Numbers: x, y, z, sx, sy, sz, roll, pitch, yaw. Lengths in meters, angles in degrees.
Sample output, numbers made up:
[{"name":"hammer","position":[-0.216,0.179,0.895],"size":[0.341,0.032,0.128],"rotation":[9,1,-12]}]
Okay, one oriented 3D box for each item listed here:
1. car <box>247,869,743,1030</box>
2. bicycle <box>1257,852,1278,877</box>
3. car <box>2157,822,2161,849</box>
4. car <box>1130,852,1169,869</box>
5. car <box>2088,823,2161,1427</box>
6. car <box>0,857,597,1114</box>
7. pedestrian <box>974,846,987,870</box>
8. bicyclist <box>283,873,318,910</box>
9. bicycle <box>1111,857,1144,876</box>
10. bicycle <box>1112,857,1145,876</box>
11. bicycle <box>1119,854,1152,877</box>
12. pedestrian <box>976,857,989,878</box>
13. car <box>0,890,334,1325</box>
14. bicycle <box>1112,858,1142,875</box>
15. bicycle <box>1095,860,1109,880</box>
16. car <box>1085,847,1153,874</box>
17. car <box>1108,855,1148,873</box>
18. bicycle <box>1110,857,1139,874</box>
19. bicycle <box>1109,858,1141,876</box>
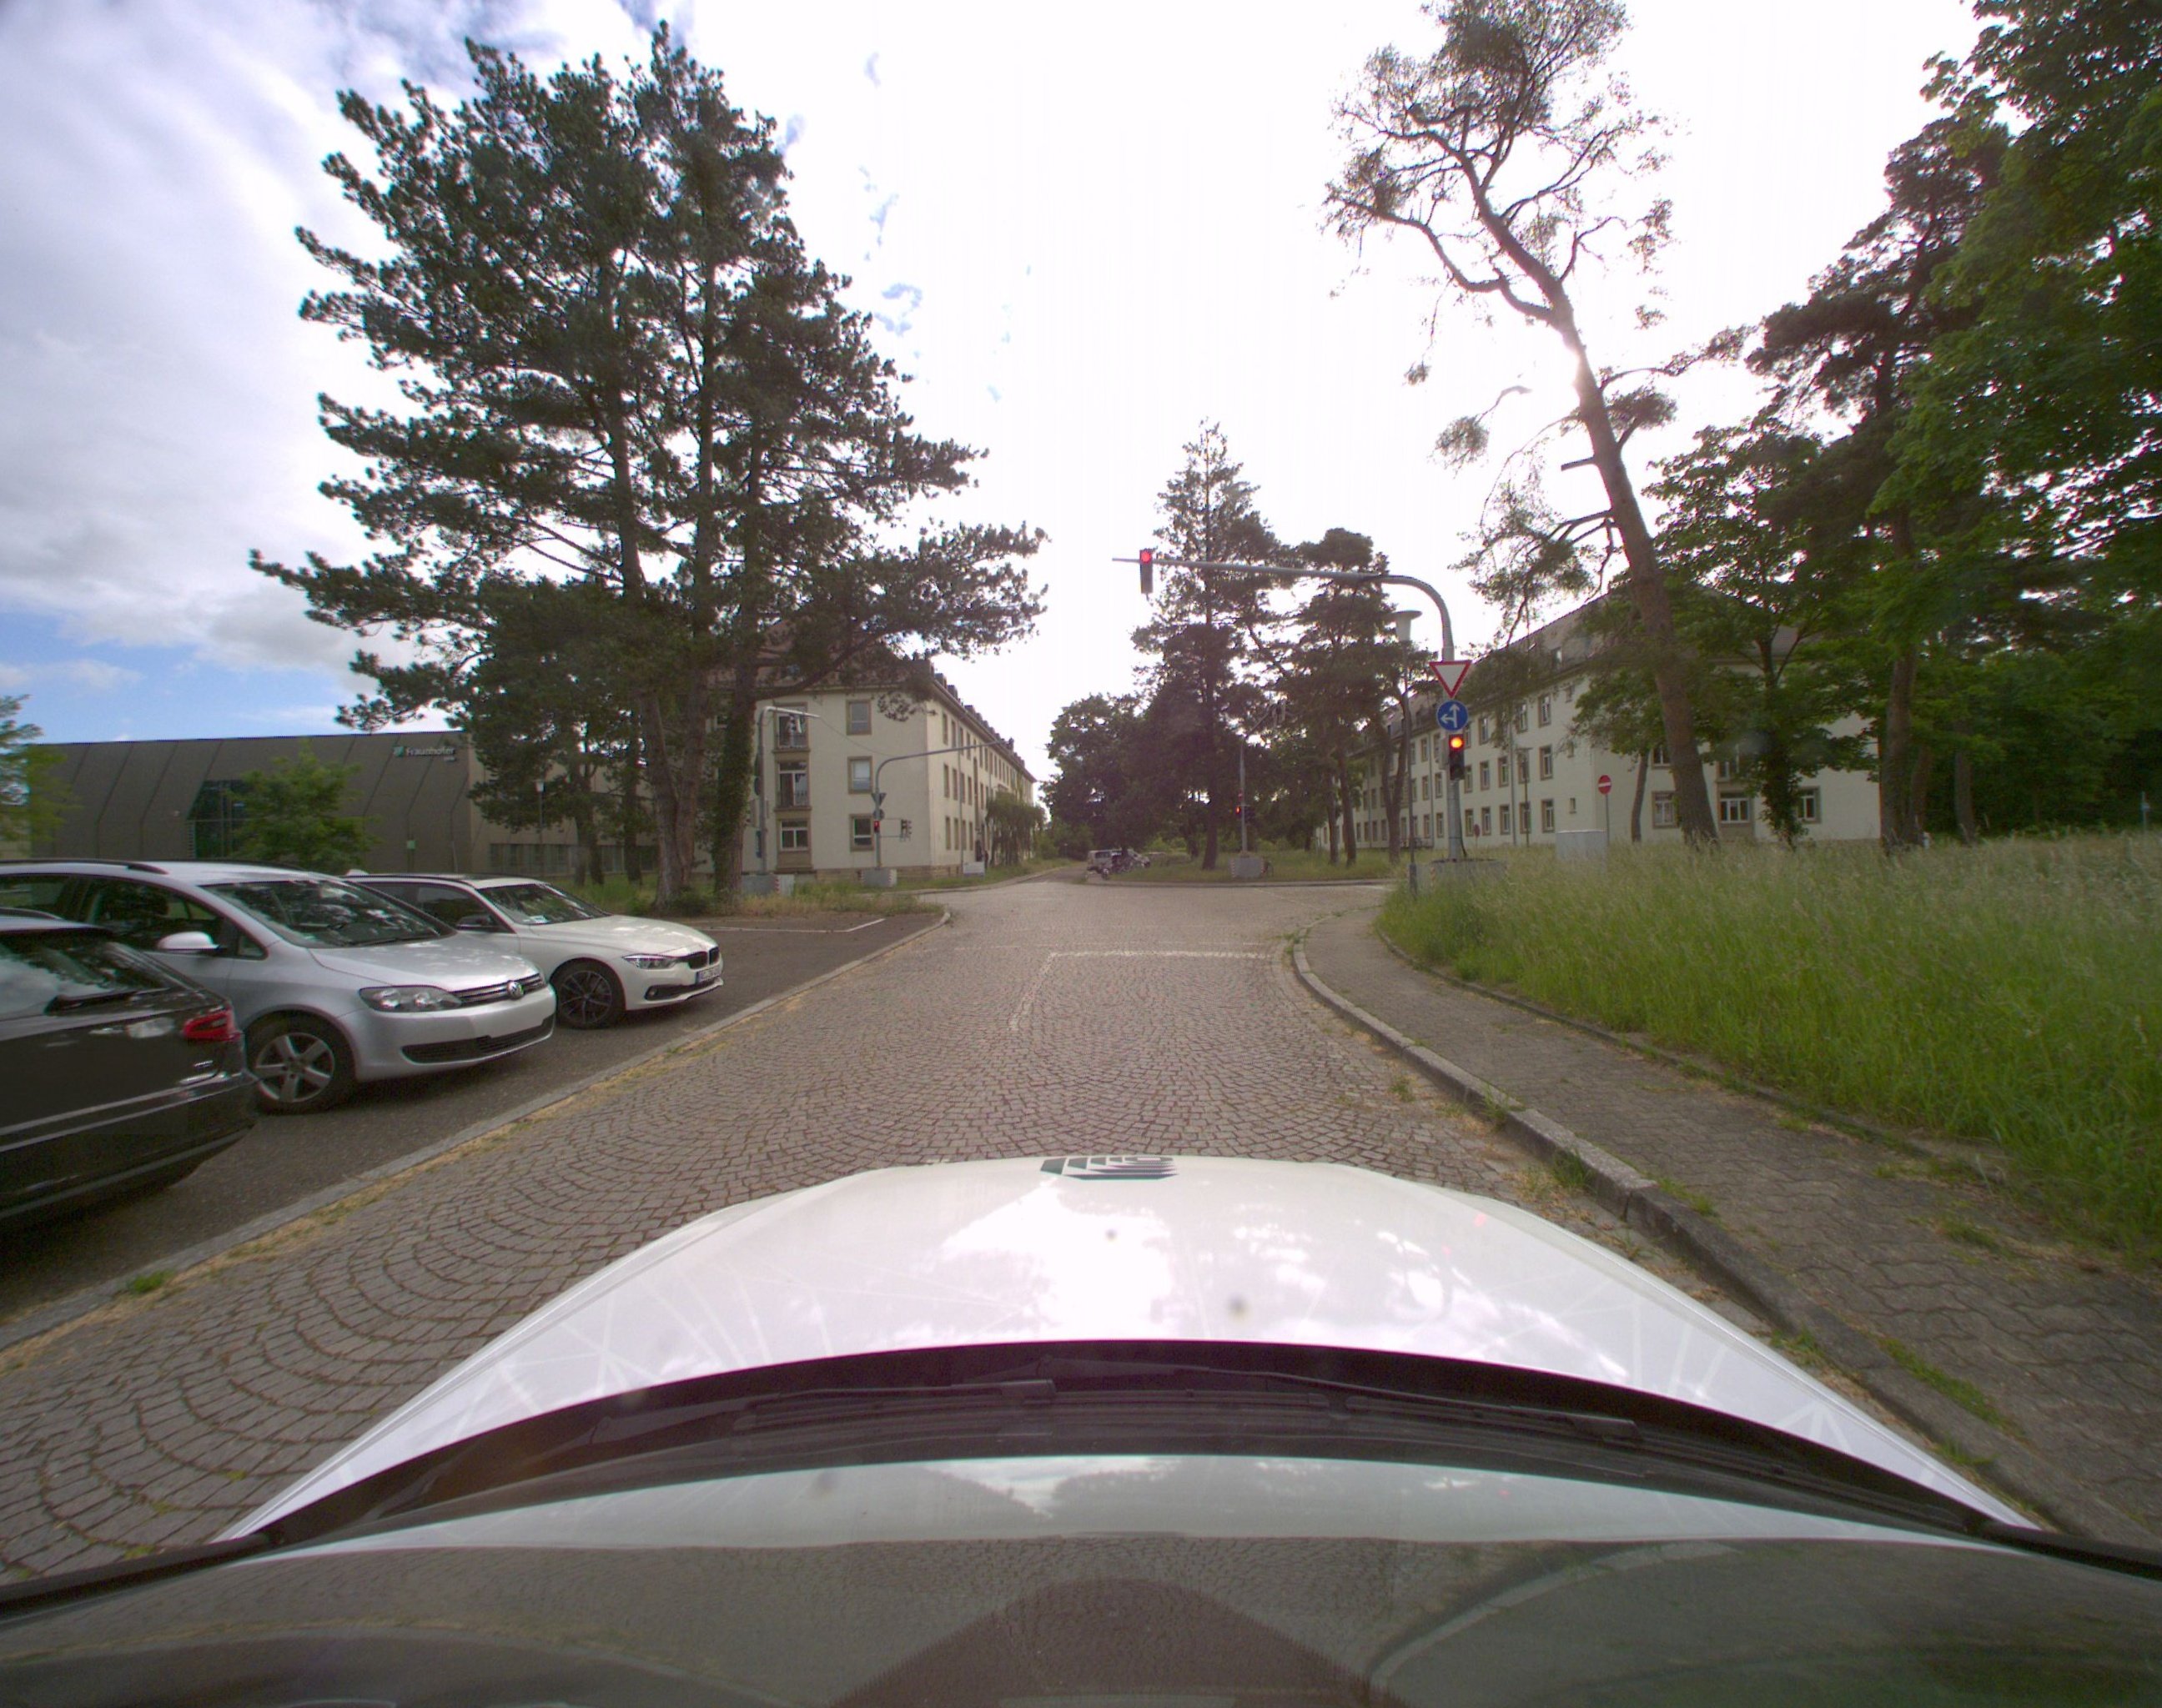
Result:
[{"name":"car","position":[-5.850,0.910,8.476],"size":[3.933,1.421,1.650],"rotation":[1,0,1]},{"name":"bicycle","position":[8.637,0.460,37.761],"size":[0.584,1.106,1.962],"rotation":[-2,0,2]},{"name":"car","position":[58.899,-0.964,42.196],"size":[3.929,1.421,1.652],"rotation":[1,0,4]},{"name":"car","position":[6.042,0.547,71.927],"size":[3.222,1.416,1.724],"rotation":[-2,0,-1]},{"name":"car","position":[4.508,0.553,1.156],"size":[3.910,1.477,1.644],"rotation":[-4,0,3]},{"name":"car","position":[-6.031,0.840,5.943],"size":[3.936,1.563,1.649],"rotation":[1,0,-1]},{"name":"pedestrian","position":[-8.175,0.325,66.050],"size":[0.778,1.837,0.734],"rotation":[-2,0,-30]},{"name":"bicyclist","position":[-30.815,1.473,32.154],"size":[0.746,1.410,0.605],"rotation":[-2,0,2]},{"name":"bicycle","position":[2.867,0.795,50.657],"size":[1.952,1.117,0.587],"rotation":[-2,0,-5]},{"name":"bicycle","position":[2.907,0.770,50.022],"size":[1.952,1.132,0.587],"rotation":[-2,0,-5]},{"name":"bicycle","position":[3.433,0.699,51.474],"size":[1.952,1.384,0.587],"rotation":[-2,0,-5]},{"name":"pedestrian","position":[-7.855,1.084,65.227],"size":[0.768,1.618,0.743],"rotation":[-2,0,13]},{"name":"car","position":[-5.603,0.887,3.223],"size":[3.735,1.428,1.582],"rotation":[1,0,-1]},{"name":"bicycle","position":[3.015,0.820,53.488],"size":[1.966,1.069,0.582],"rotation":[-2,0,-28]},{"name":"bicycle","position":[1.193,0.917,46.865],"size":[0.602,1.132,1.959],"rotation":[-2,0,-4]},{"name":"car","position":[3.177,0.512,68.115],"size":[5.356,1.925,2.020],"rotation":[-3,0,-7]},{"name":"car","position":[3.730,0.769,64.711],"size":[3.000,1.268,1.533],"rotation":[-2,0,-4]},{"name":"bicycle","position":[3.067,0.809,57.176],"size":[1.963,1.069,0.583],"rotation":[-2,0,-23]},{"name":"bicycle","position":[2.815,0.822,52.142],"size":[1.966,1.069,0.582],"rotation":[-2,0,-28]}]
